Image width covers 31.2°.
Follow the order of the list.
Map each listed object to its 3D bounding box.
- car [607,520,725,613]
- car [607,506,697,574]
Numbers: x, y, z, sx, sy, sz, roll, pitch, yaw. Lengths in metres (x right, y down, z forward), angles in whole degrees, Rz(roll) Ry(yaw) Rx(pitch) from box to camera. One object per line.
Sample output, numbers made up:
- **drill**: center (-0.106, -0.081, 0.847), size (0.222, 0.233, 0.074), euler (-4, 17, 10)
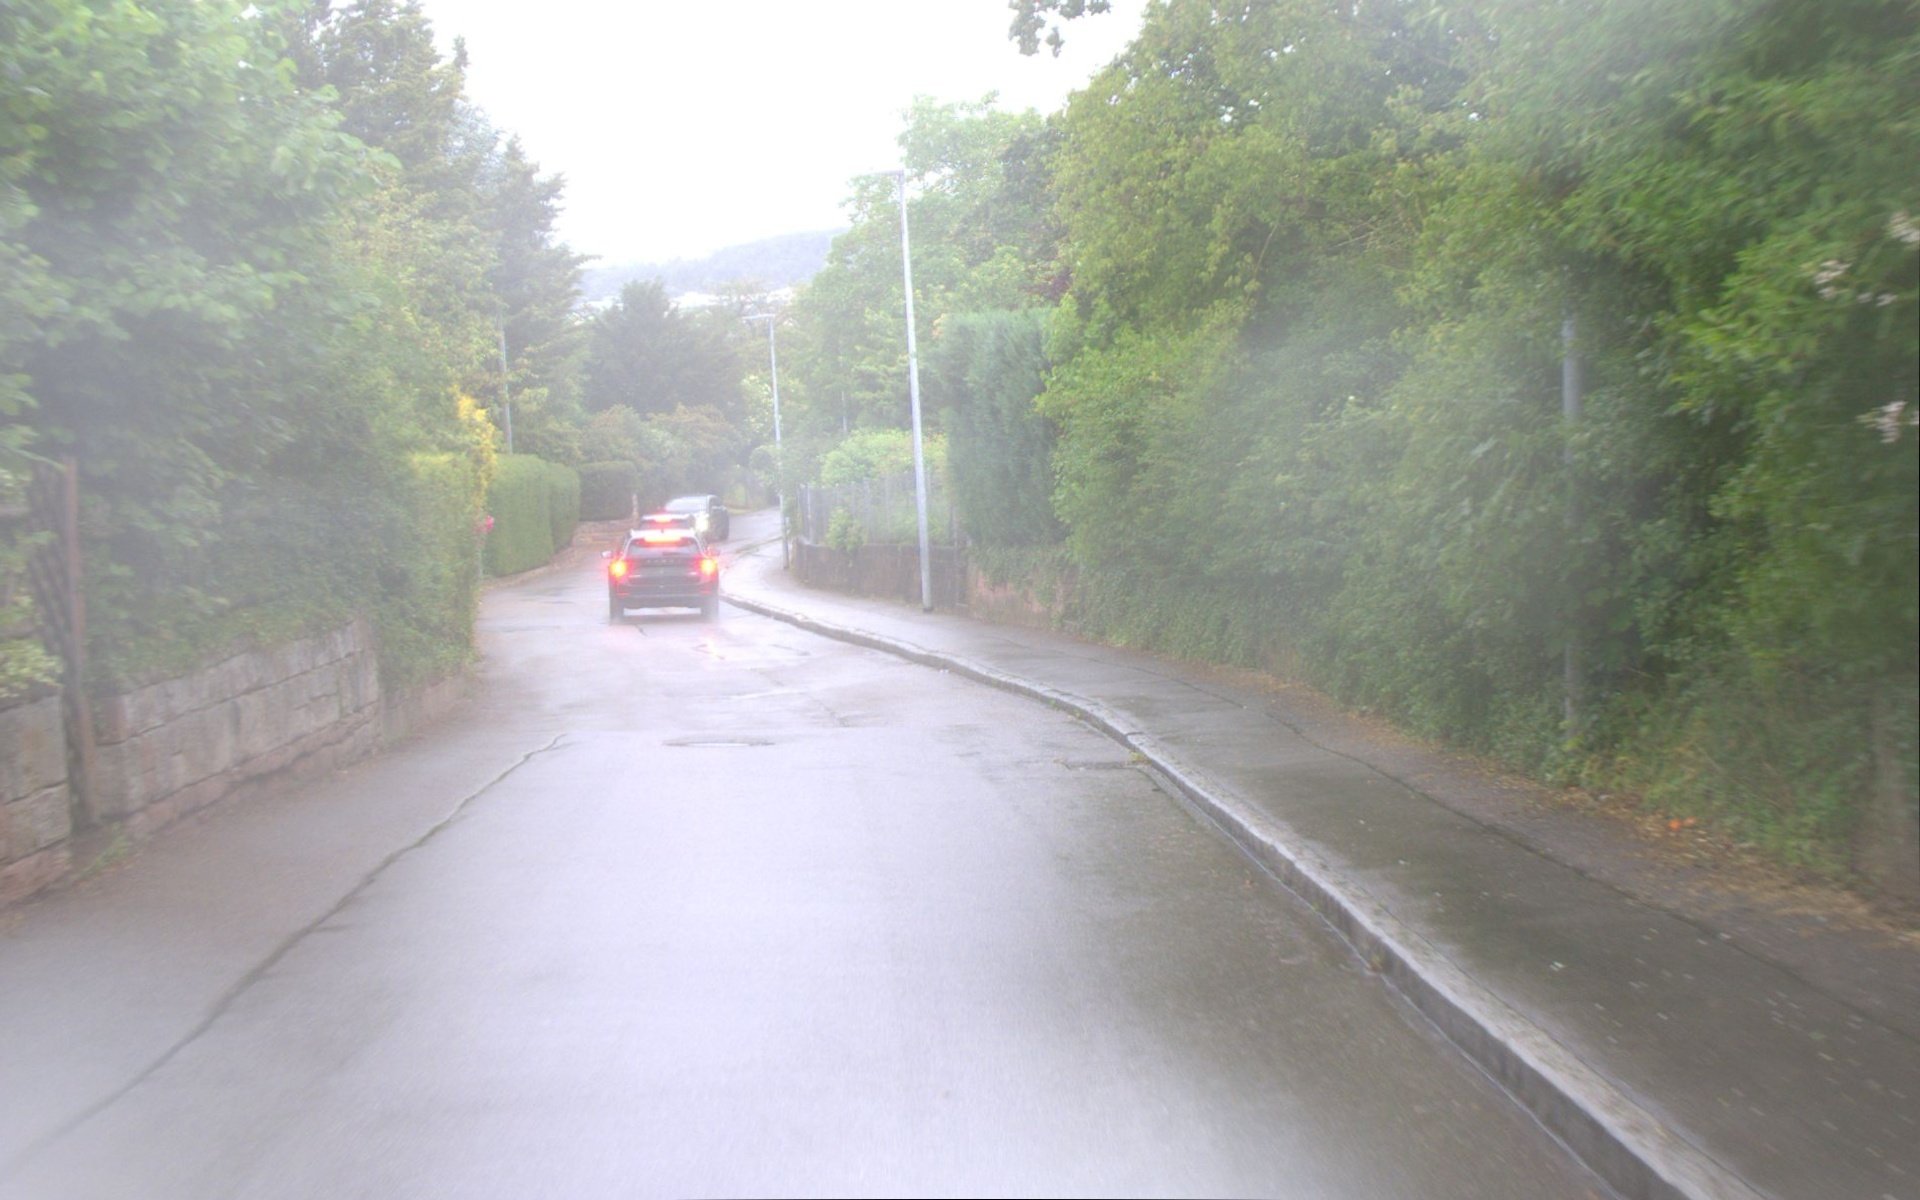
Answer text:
- **car**: center (-4.844, -0.571, 56.315), size (1.834, 1.459, 4.001), euler (0, 1, -6)
- **car**: center (-7.859, -1.550, 87.900), size (1.678, 1.559, 3.794), euler (-1, 3, 4)
